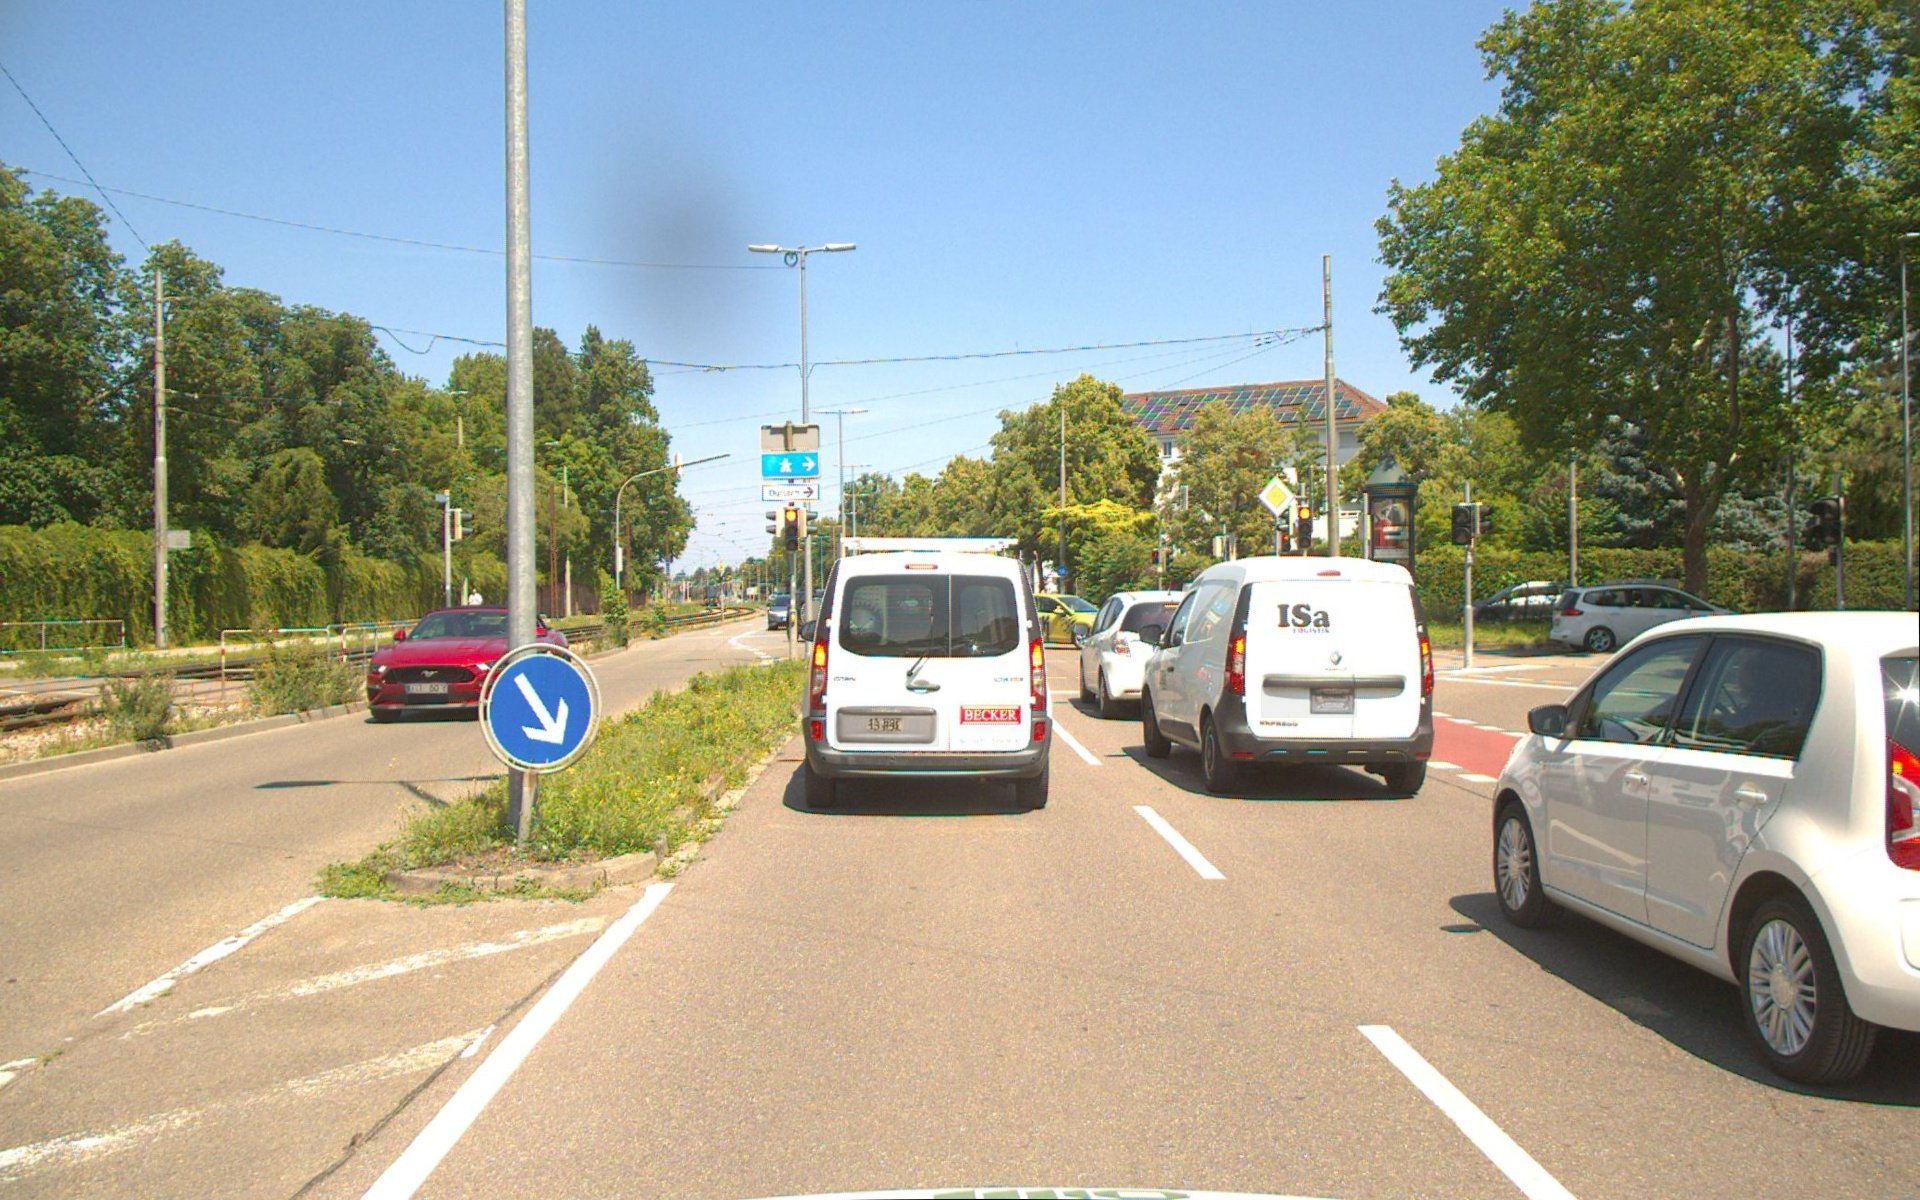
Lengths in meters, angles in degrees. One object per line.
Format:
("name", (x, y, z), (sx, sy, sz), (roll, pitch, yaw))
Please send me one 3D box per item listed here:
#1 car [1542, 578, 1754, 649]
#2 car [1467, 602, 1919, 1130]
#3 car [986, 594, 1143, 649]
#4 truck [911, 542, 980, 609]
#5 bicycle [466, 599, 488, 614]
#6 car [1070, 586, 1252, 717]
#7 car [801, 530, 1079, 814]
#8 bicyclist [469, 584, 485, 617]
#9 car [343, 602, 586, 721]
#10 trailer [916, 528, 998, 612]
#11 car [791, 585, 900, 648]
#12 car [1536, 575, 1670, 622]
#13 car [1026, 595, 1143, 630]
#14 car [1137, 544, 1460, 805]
("car", (16.553, 0.322, 39.981), (4.346, 1.645, 2.002), (-1, 0, 7))
("car", (3.371, 0.765, 6.483), (1.574, 1.477, 3.519), (1, 0, -2))
("car", (2.748, 0.552, 43.843), (3.918, 1.403, 1.539), (0, 0, 33))
("truck", (-0.923, -1.369, 95.519), (3.505, 3.696, 8.803), (-1, 0, -3))
("bicycle", (-22.070, 0.281, 75.612), (0.550, 0.659, 1.719), (-1, 0, -1))
("car", (2.503, 0.594, 21.476), (1.720, 1.512, 3.998), (-1, 0, -2))
("car", (-0.217, 0.469, 12.876), (1.829, 1.868, 3.847), (0, 0, -3))
("bicyclist", (-22.065, 0.004, 75.624), (0.546, 1.504, 0.561), (-1, 0, -1))
("car", (-6.474, 0.746, 22.182), (1.943, 1.382, 4.537), (-1, 0, -1))
("trailer", (-0.247, -1.506, 86.616), (3.459, 4.121, 8.967), (-1, 0, -5))
("car", (-3.626, 0.495, 51.880), (1.971, 1.892, 3.963), (-1, 0, -28))
("car", (22.182, -0.049, 57.174), (3.902, 1.534, 2.001), (-1, 0, 6))
("car", (4.598, 0.467, 61.212), (3.915, 1.243, 1.858), (0, 0, 32))
("car", (2.666, 0.522, 13.941), (1.676, 1.862, 4.010), (0, 0, -4))
